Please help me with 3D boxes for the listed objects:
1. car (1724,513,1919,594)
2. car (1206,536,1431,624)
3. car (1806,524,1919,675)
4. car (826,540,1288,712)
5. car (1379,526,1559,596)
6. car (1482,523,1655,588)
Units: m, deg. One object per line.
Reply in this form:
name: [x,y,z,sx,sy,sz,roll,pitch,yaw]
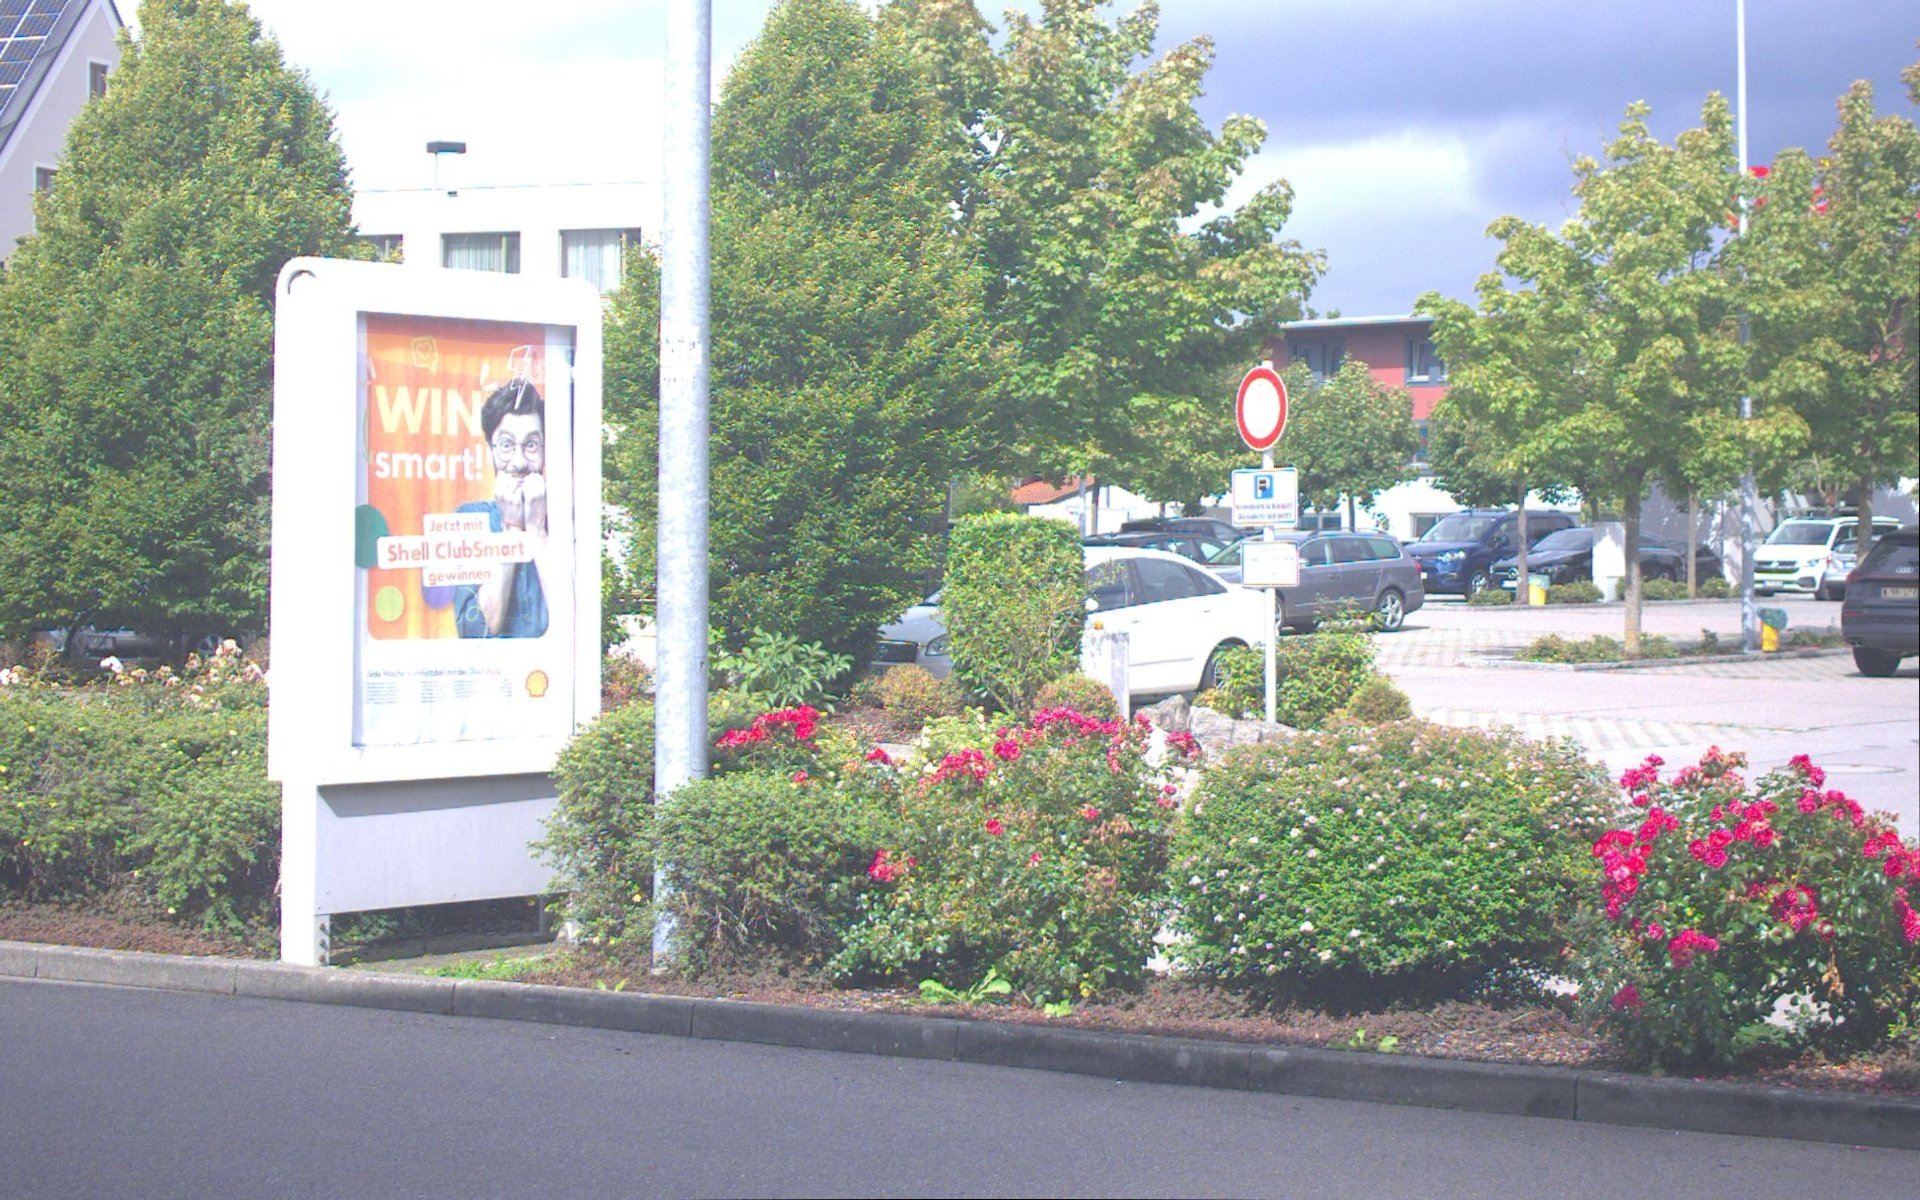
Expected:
car: [20.260,-1.081,80.659,4.864,1.827,2.184,0,1,-43]
car: [5.211,-0.284,49.736,3.218,1.224,1.505,0,1,-44]
car: [11.140,-0.004,36.749,4.491,1.543,1.885,0,1,-43]
car: [0.910,0.208,29.947,4.332,1.399,1.370,0,1,-44]
car: [9.897,-0.752,66.802,3.379,1.316,1.747,0,1,-44]
car: [11.525,-0.834,65.054,3.409,1.174,1.485,0,1,-44]
